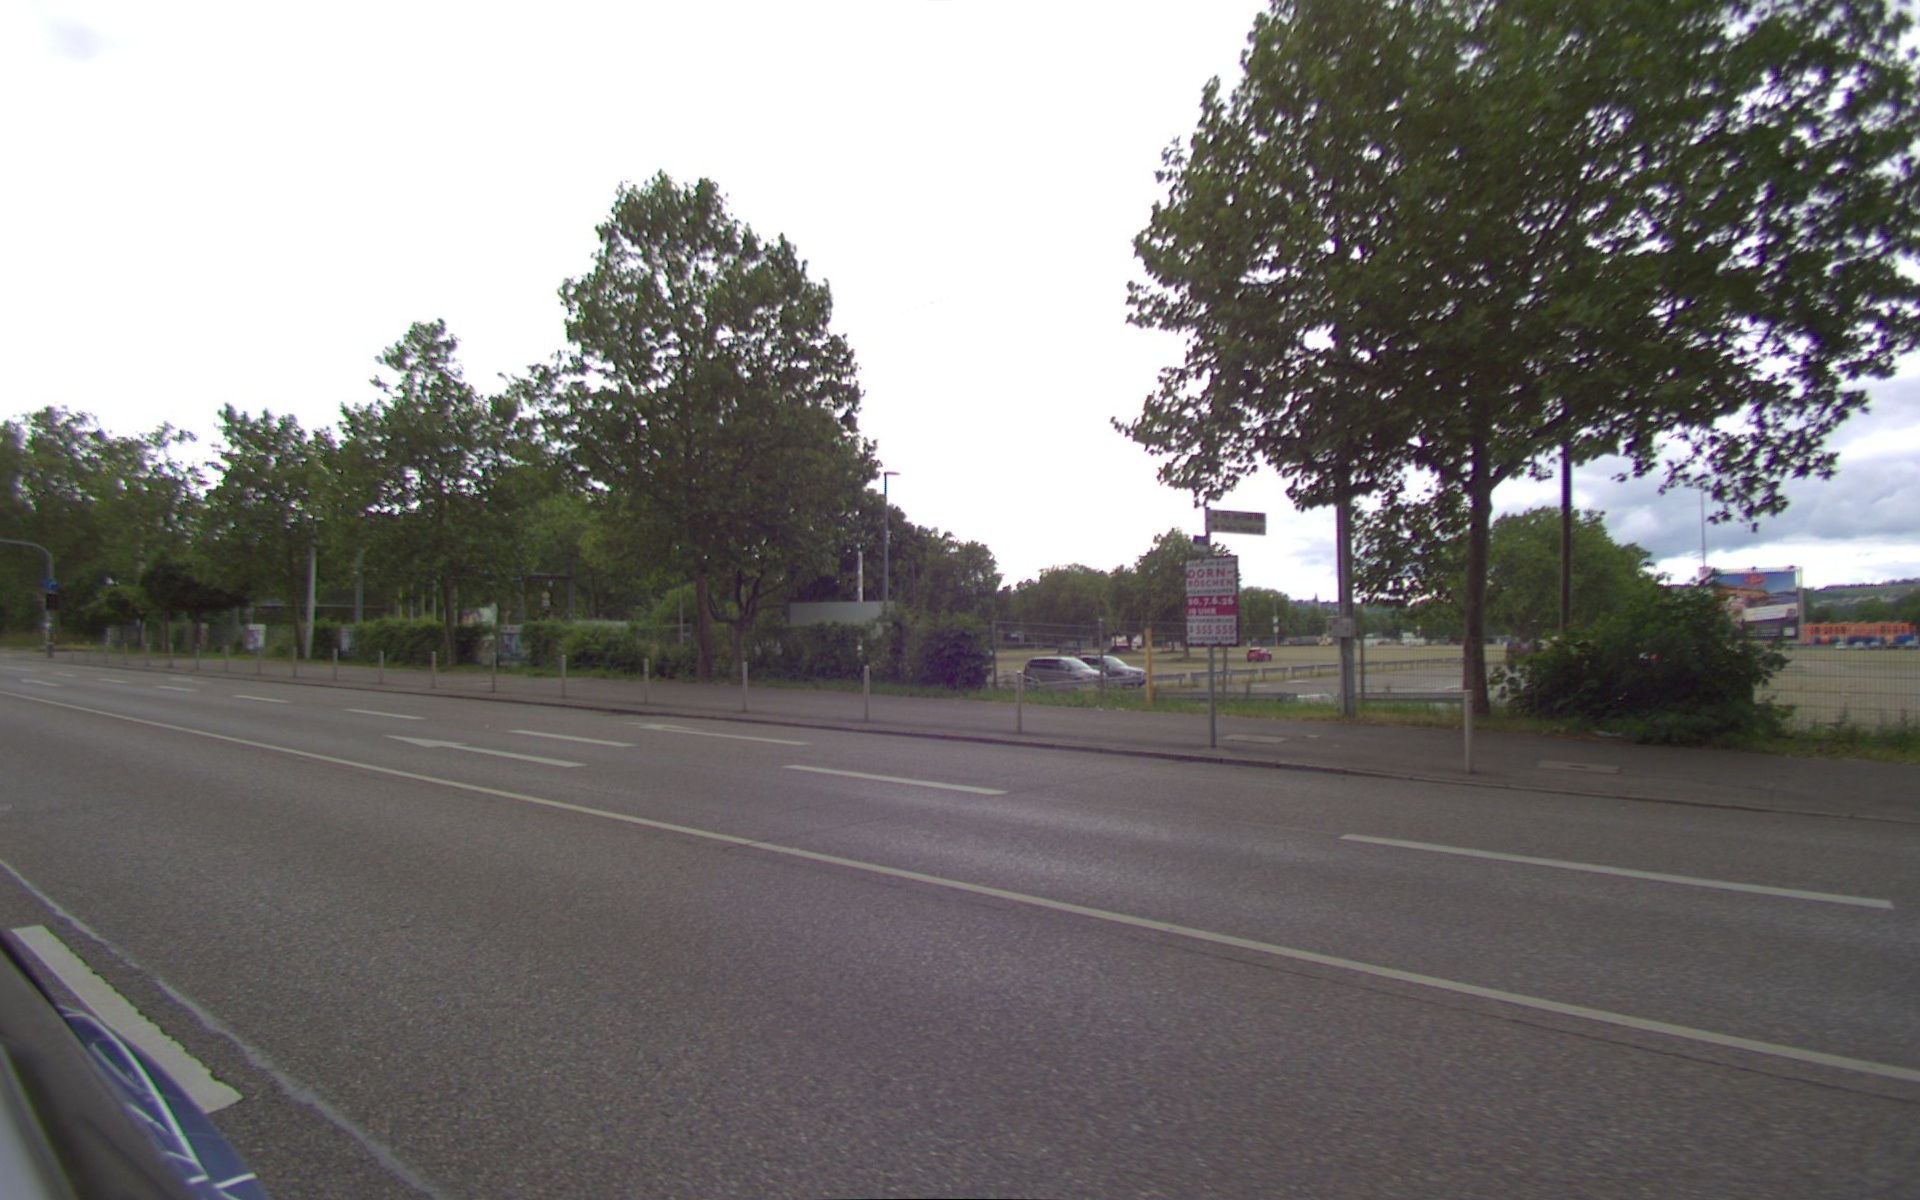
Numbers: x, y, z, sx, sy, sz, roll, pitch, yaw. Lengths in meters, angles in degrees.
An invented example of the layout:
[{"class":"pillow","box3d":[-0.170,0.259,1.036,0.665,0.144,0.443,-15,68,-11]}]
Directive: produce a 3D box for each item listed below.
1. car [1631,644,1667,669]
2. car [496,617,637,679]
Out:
[{"class":"car","box3d":[53.324,4.336,78.422,1.992,1.716,3.946,-1,0,30]},{"class":"car","box3d":[-13.667,1.628,35.077,4.624,2.029,2.366,-1,-3,34]}]
